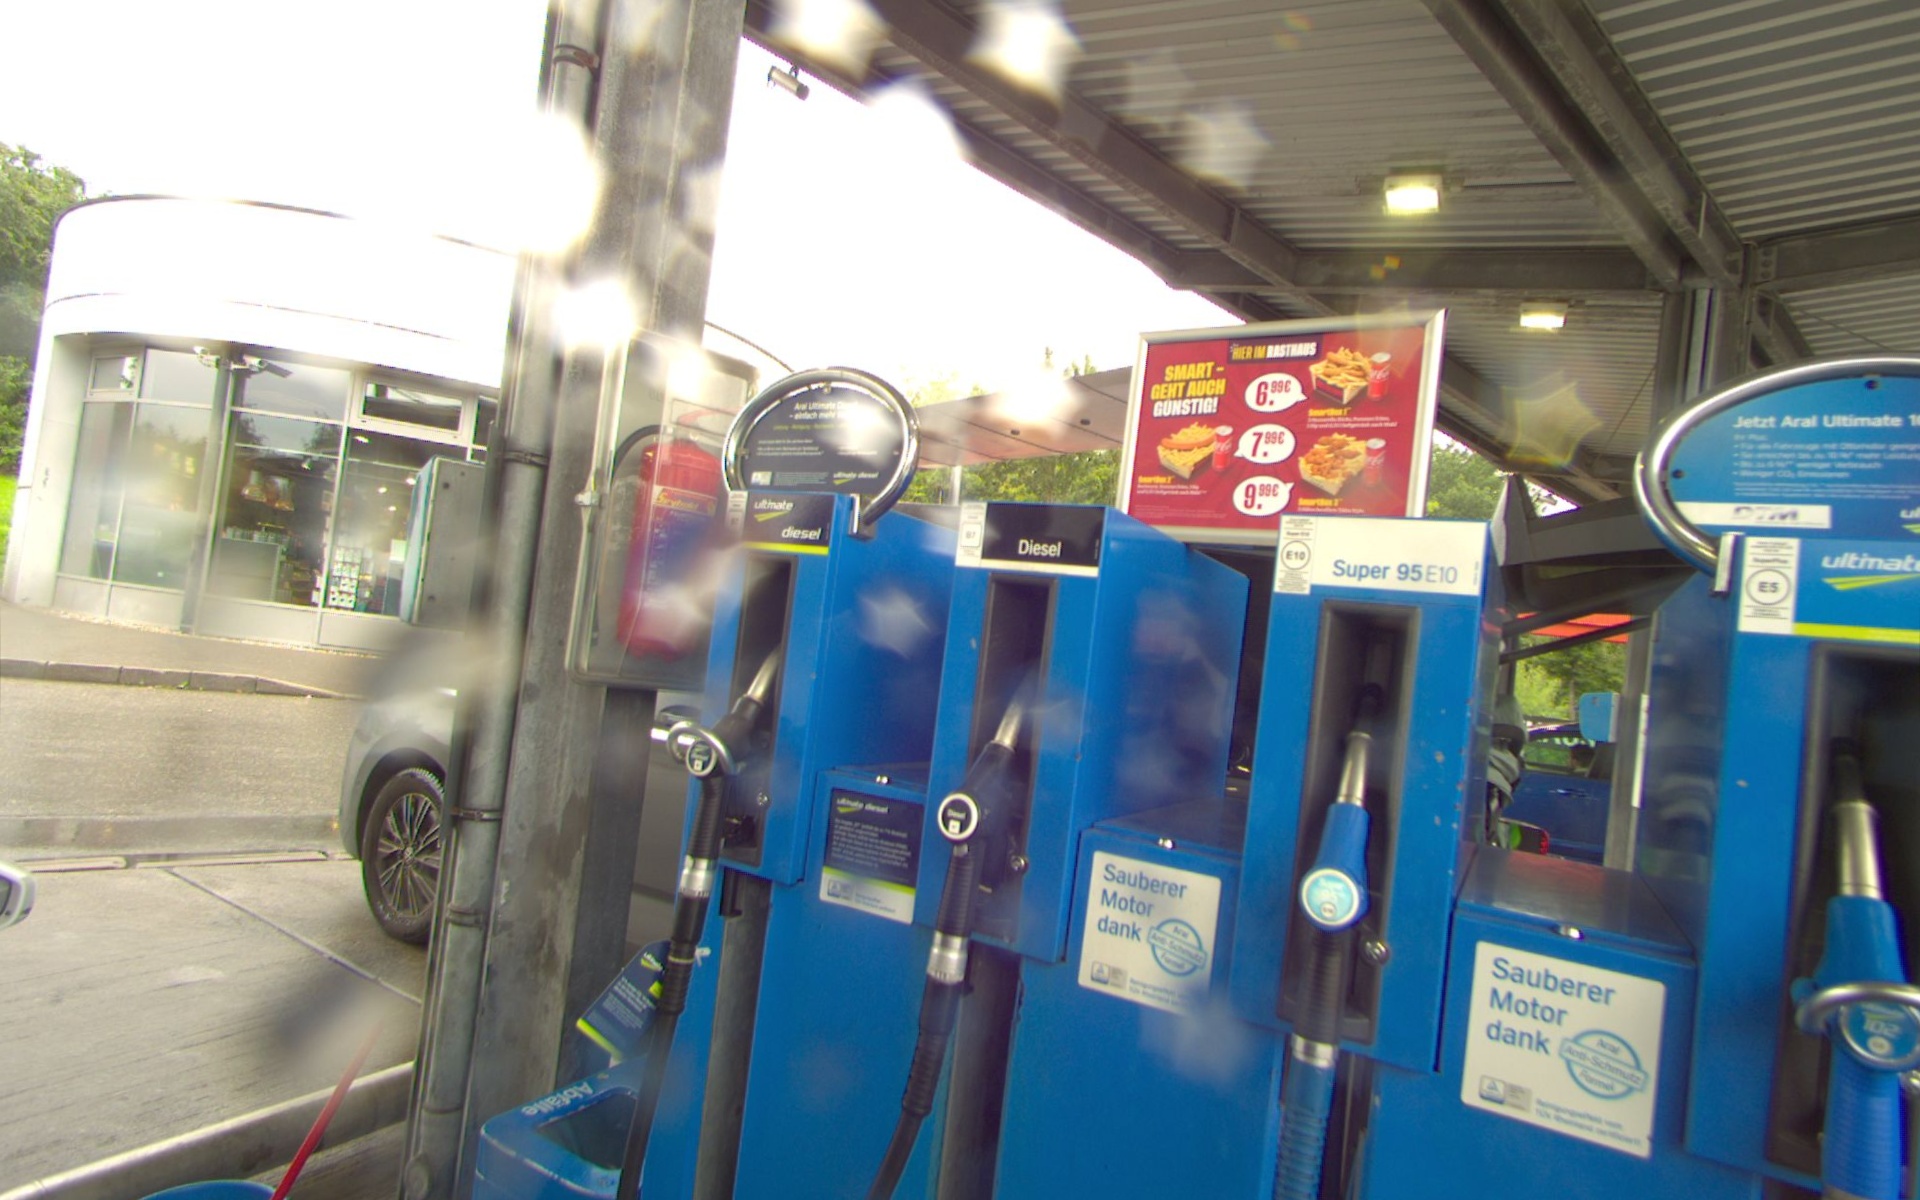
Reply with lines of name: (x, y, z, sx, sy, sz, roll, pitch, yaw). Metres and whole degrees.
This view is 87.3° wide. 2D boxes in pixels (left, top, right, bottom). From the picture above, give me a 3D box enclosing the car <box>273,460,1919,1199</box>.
car: (-0.146, 0.642, 3.671, 5.055, 1.819, 1.865, 6, -2, 32)
